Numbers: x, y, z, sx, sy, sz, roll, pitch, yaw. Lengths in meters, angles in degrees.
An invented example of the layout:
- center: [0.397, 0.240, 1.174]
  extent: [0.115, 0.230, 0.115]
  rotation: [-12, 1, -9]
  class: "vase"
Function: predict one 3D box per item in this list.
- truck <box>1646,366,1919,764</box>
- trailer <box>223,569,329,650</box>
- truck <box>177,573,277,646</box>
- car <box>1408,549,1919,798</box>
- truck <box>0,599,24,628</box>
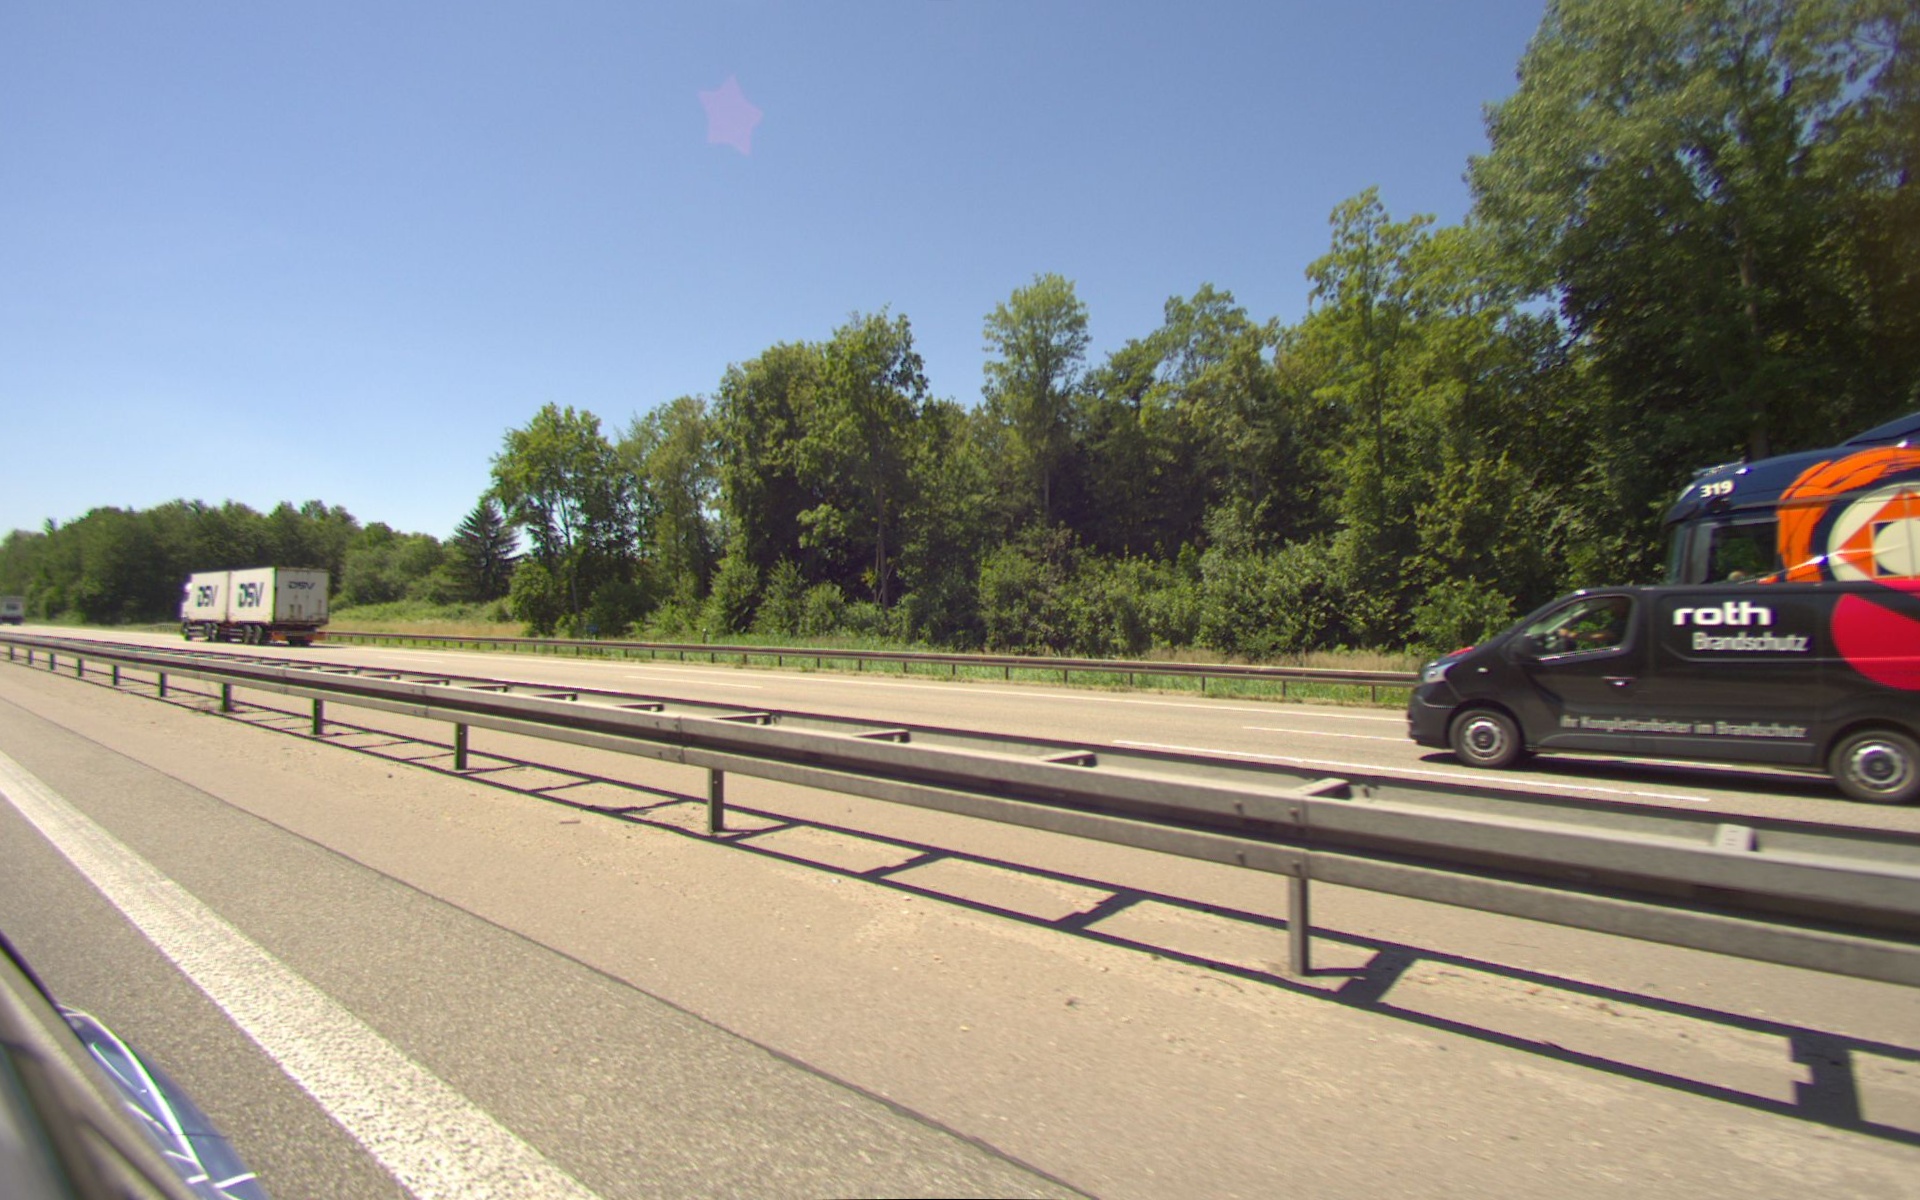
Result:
- center: [12.225, -0.401, 11.862]
  extent: [6.609, 4.374, 3.289]
  rotation: [0, 0, 41]
  class: "truck"
- center: [-36.832, 0.551, 54.387]
  extent: [8.555, 4.020, 2.552]
  rotation: [-1, -2, 41]
  class: "trailer"
- center: [-43.998, 0.602, 60.572]
  extent: [10.333, 4.038, 2.554]
  rotation: [-1, -2, 41]
  class: "truck"
- center: [7.484, 0.656, 9.887]
  extent: [5.357, 2.029, 1.972]
  rotation: [0, -3, 41]
  class: "car"
- center: [-123.684, 1.753, 130.675]
  extent: [10.265, 3.646, 2.963]
  rotation: [0, 0, 41]
  class: "truck"
